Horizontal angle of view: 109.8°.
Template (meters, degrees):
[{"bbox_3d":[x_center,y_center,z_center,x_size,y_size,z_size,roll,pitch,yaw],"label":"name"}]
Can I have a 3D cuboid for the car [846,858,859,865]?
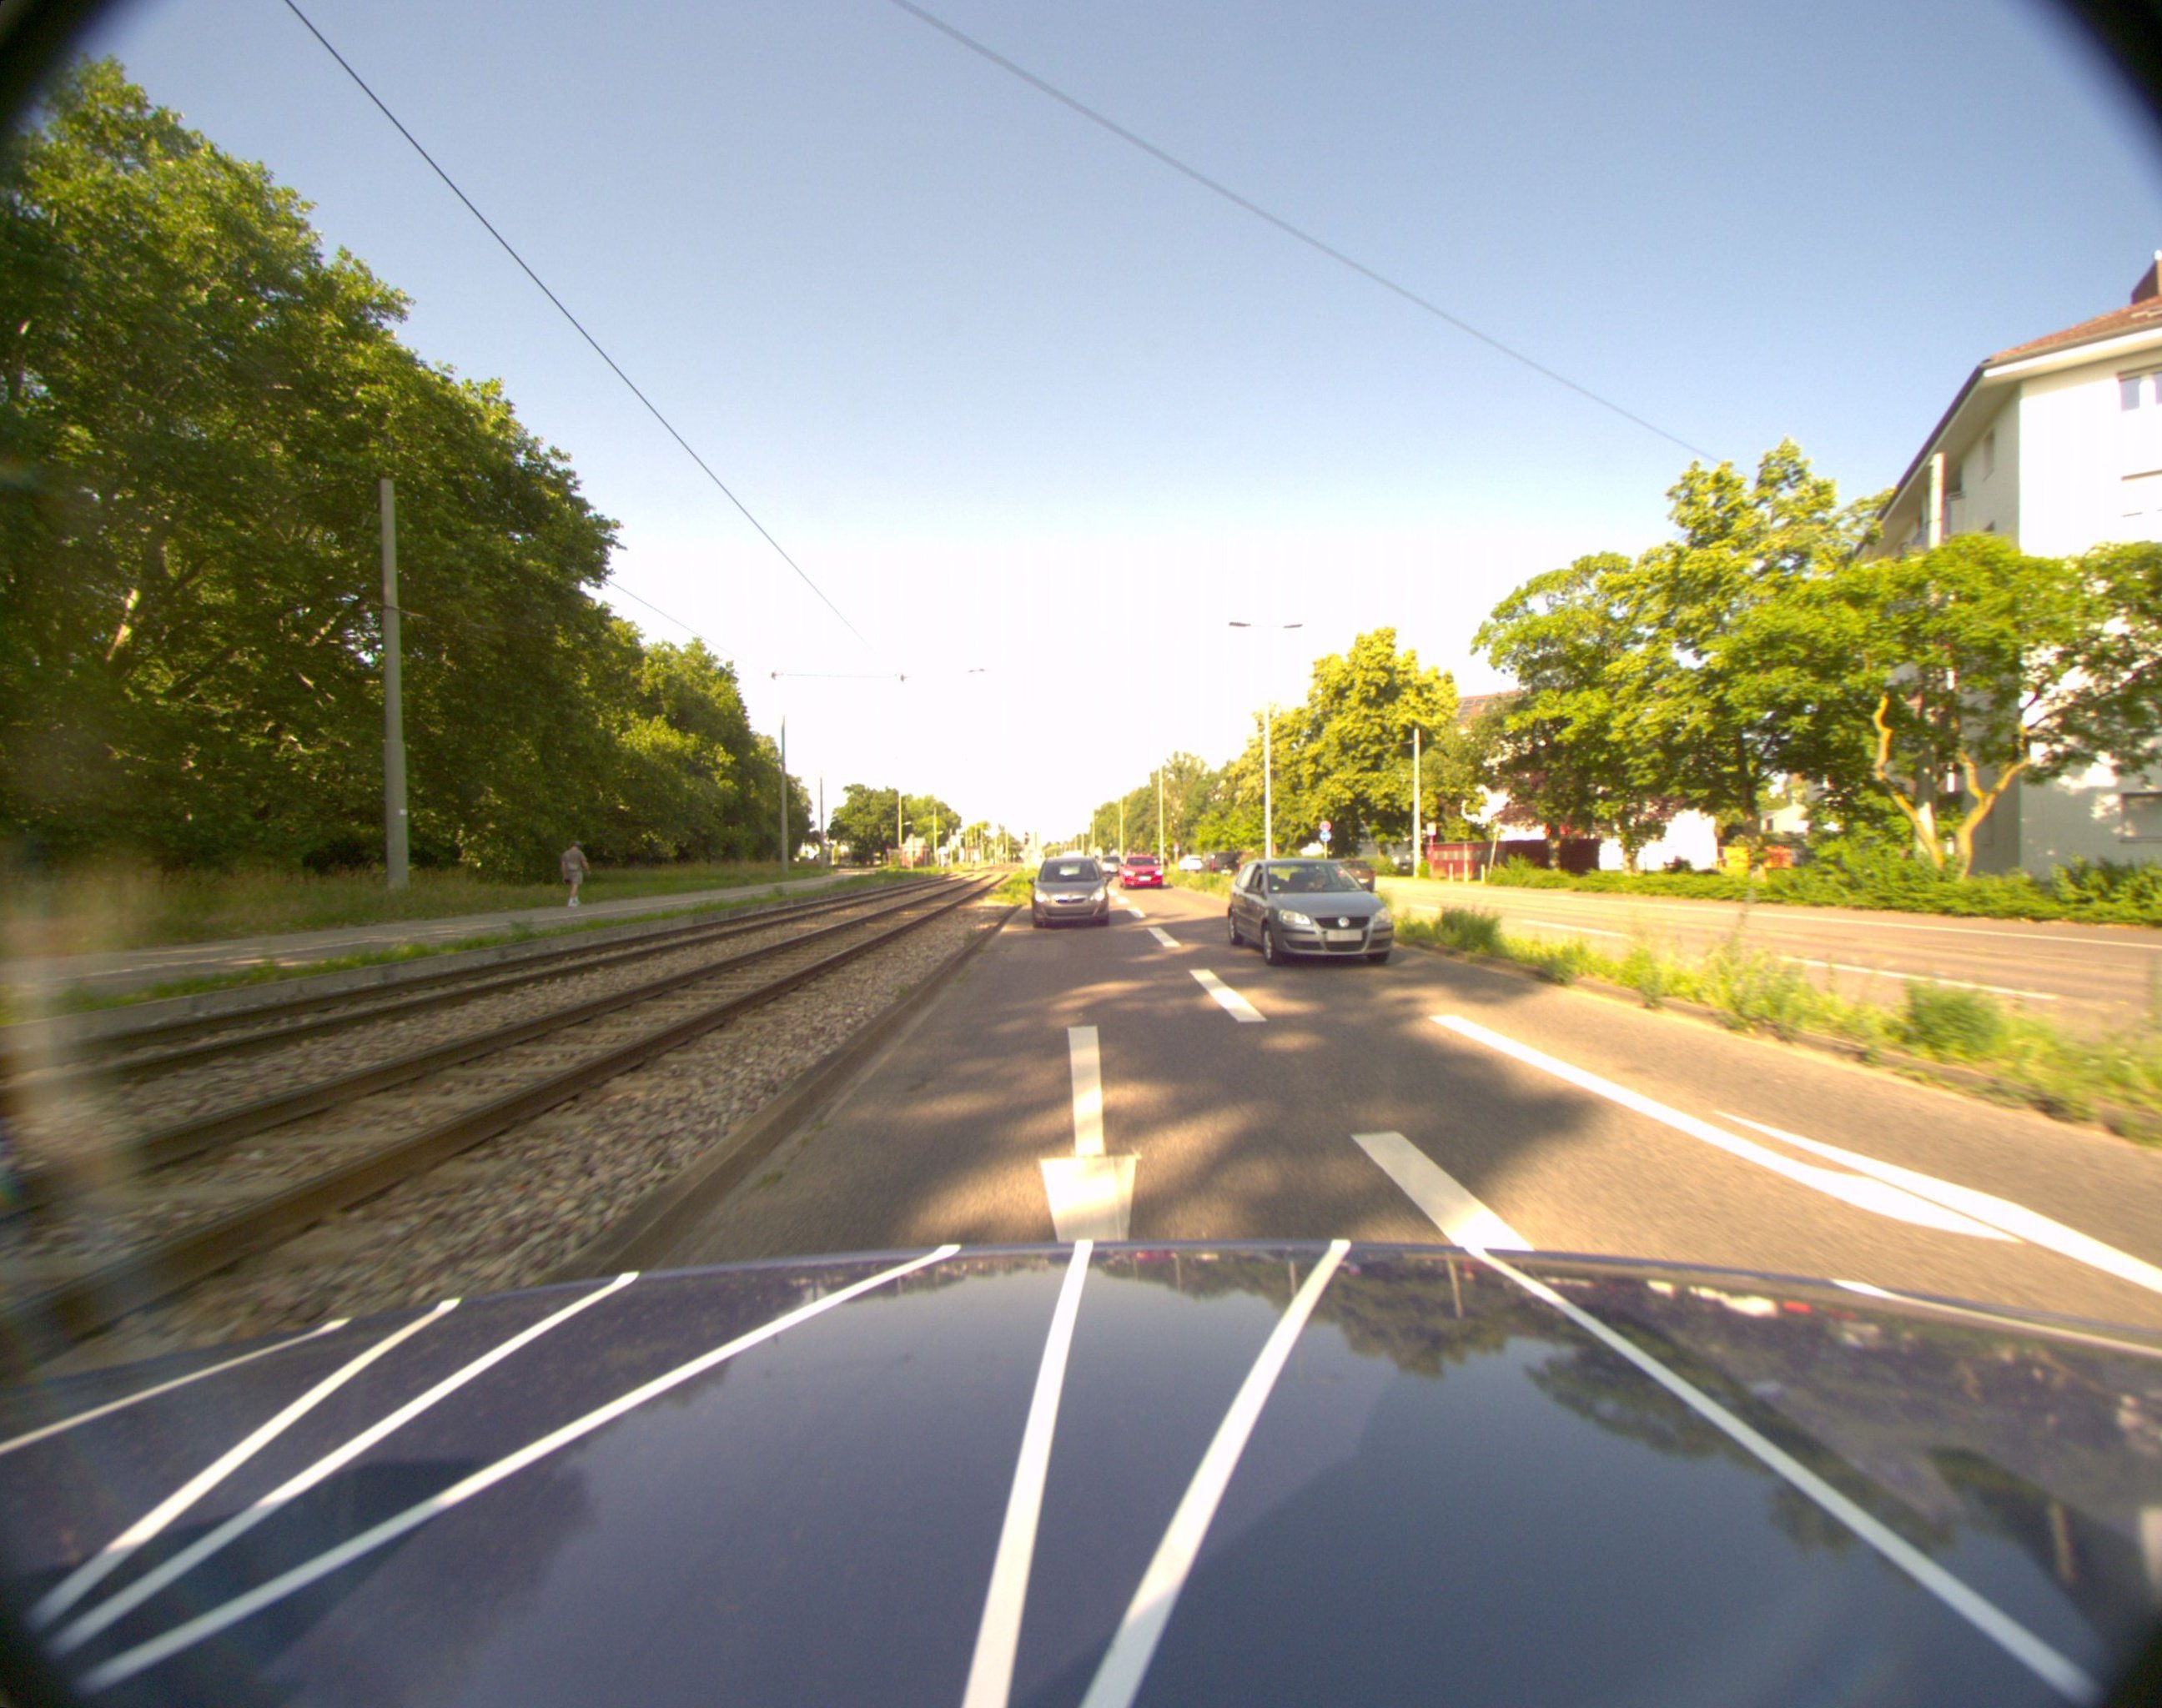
[{"bbox_3d":[-47.567,1.474,158.347,1.809,1.384,3.776,0,0,-28],"label":"car"}]

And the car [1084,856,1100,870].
[{"bbox_3d":[1.313,1.135,93.311,1.774,1.669,4.048,1,0,-2],"label":"car"}]

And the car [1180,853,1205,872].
[{"bbox_3d":[10.474,0.767,71.788,1.664,1.669,4.514,1,0,0],"label":"car"}]

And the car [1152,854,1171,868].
[{"bbox_3d":[9.781,0.807,92.593,1.774,1.669,4.048,0,0,-2],"label":"car"}]

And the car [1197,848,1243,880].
[{"bbox_3d":[8.083,0.534,44.561,1.795,1.774,4.480,0,0,0],"label":"car"}]

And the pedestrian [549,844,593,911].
[{"bbox_3d":[-13.315,0.599,19.862,0.501,1.706,0.885,0,0,5],"label":"pedestrian"}]

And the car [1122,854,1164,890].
[{"bbox_3d":[2.915,0.815,36.470,1.692,1.573,3.833,-2,0,0],"label":"car"}]

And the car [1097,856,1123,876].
[{"bbox_3d":[2.272,0.937,59.936,1.710,1.513,3.832,-2,0,-2],"label":"car"}]

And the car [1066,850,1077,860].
[{"bbox_3d":[-1.591,0.136,127.616,1.710,1.513,3.832,-2,0,-2],"label":"car"}]

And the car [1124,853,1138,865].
[{"bbox_3d":[7.414,0.745,113.139,1.774,1.669,4.048,1,0,-2],"label":"car"}]

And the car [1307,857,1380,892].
[{"bbox_3d":[11.454,0.852,33.465,1.728,1.411,4.325,0,0,0],"label":"car"}]

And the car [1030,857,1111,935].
[{"bbox_3d":[-0.251,0.907,18.096,1.650,1.581,3.832,-2,0,-1],"label":"car"}]

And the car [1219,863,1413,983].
[{"bbox_3d":[3.295,0.888,11.441,1.692,1.420,3.833,-2,0,0],"label":"car"}]

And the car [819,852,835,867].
[{"bbox_3d":[-44.339,1.015,132.645,1.863,2.506,3.853,-3,1,-27],"label":"car"}]

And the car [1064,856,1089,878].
[{"bbox_3d":[-0.341,0.958,55.983,1.710,1.513,3.832,-2,0,-2],"label":"car"}]
